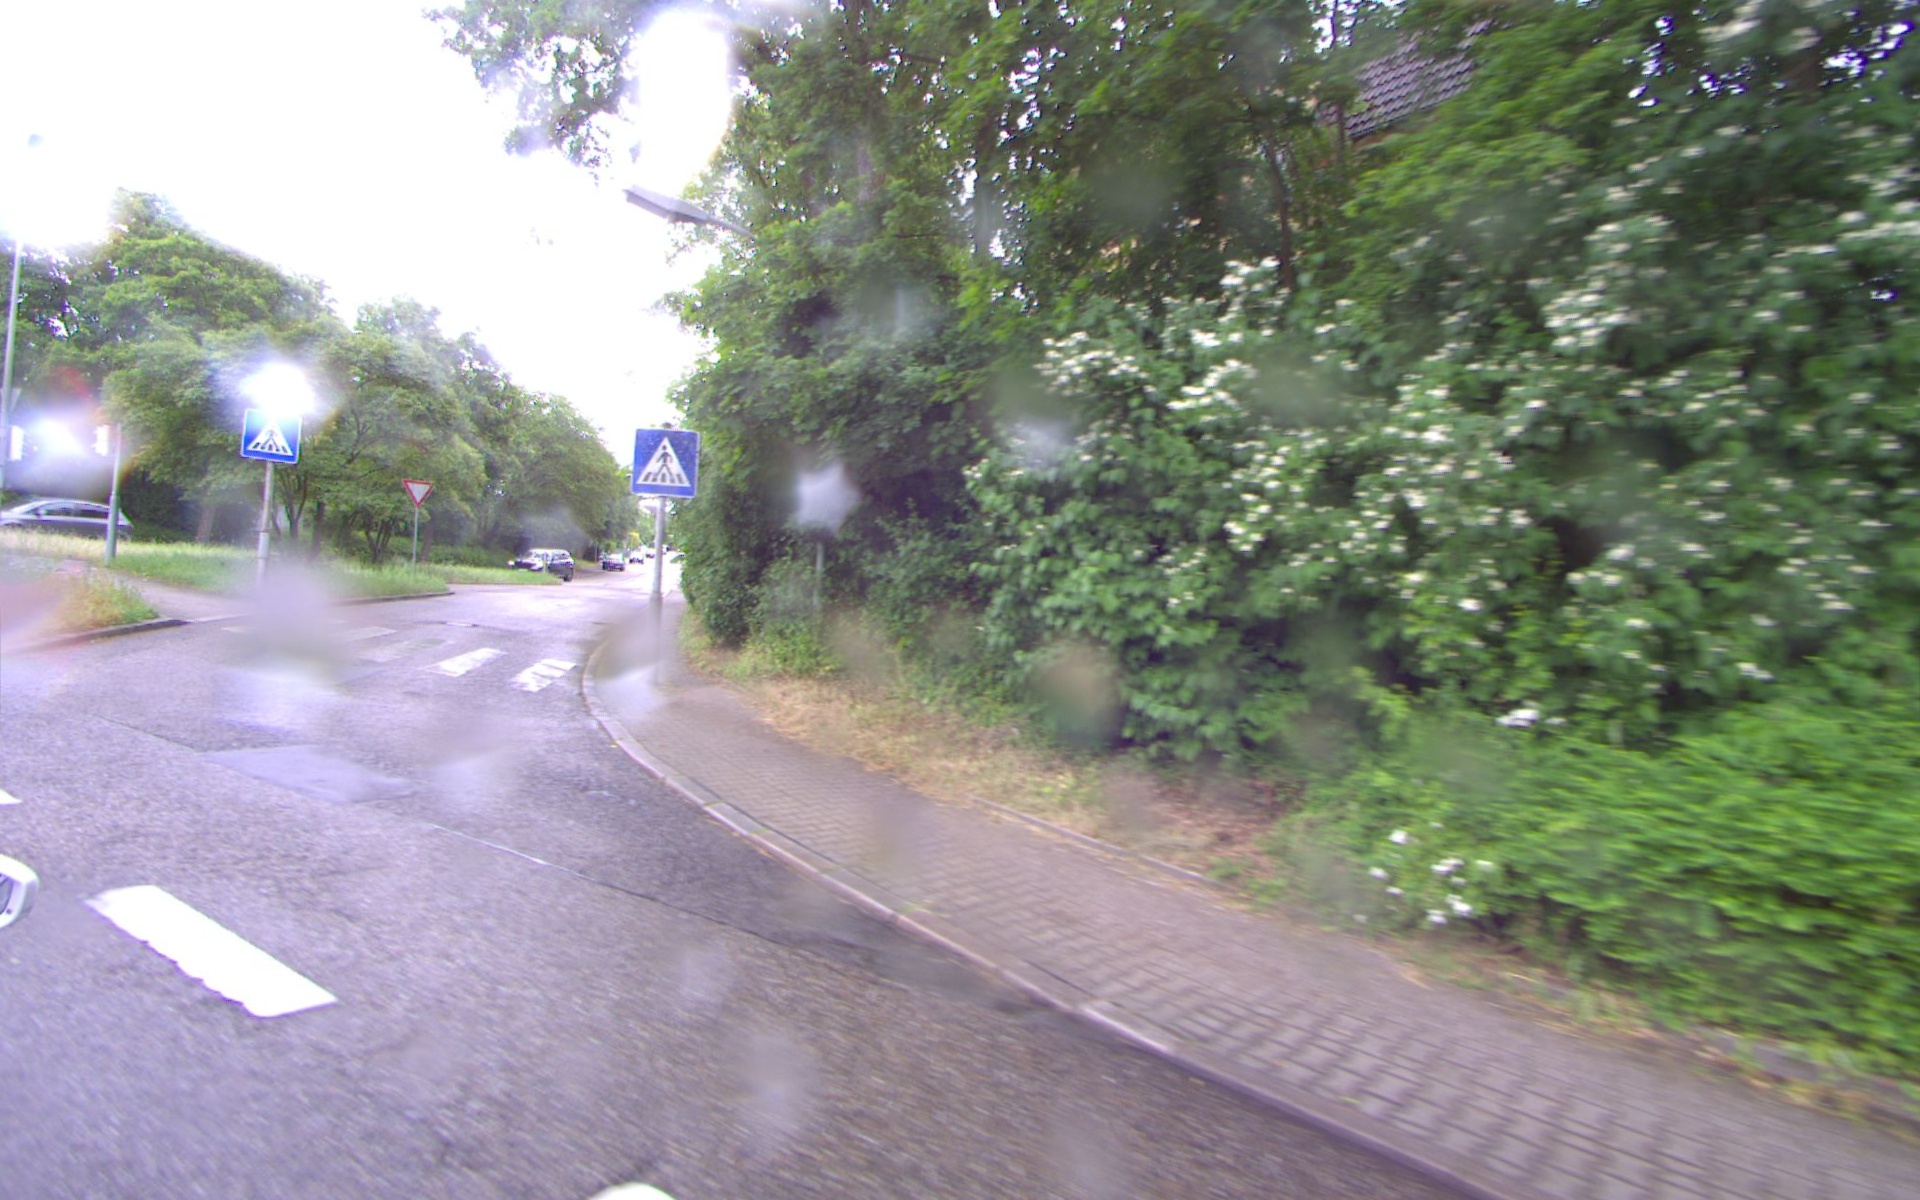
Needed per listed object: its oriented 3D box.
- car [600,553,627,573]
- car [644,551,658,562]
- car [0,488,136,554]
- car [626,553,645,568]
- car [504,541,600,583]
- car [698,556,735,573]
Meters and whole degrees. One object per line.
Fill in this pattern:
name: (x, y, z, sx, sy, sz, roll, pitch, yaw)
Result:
car: (-32.788, -3.484, 95.332, 1.874, 1.467, 4.285, 7, -2, -13)
car: (-49.504, -7.010, 161.091, 1.877, 1.413, 4.151, 7, -2, -20)
car: (-27.748, -2.429, 30.402, 1.716, 1.622, 4.028, 7, 1, 22)
car: (-40.413, -4.936, 125.238, 1.968, 1.463, 4.277, 7, -2, -19)
car: (-21.847, -1.984, 54.075, 1.963, 1.738, 4.715, 7, 0, 20)
car: (-28.469, -4.178, 117.696, 3.939, 1.594, 1.766, 5, 1, -18)
